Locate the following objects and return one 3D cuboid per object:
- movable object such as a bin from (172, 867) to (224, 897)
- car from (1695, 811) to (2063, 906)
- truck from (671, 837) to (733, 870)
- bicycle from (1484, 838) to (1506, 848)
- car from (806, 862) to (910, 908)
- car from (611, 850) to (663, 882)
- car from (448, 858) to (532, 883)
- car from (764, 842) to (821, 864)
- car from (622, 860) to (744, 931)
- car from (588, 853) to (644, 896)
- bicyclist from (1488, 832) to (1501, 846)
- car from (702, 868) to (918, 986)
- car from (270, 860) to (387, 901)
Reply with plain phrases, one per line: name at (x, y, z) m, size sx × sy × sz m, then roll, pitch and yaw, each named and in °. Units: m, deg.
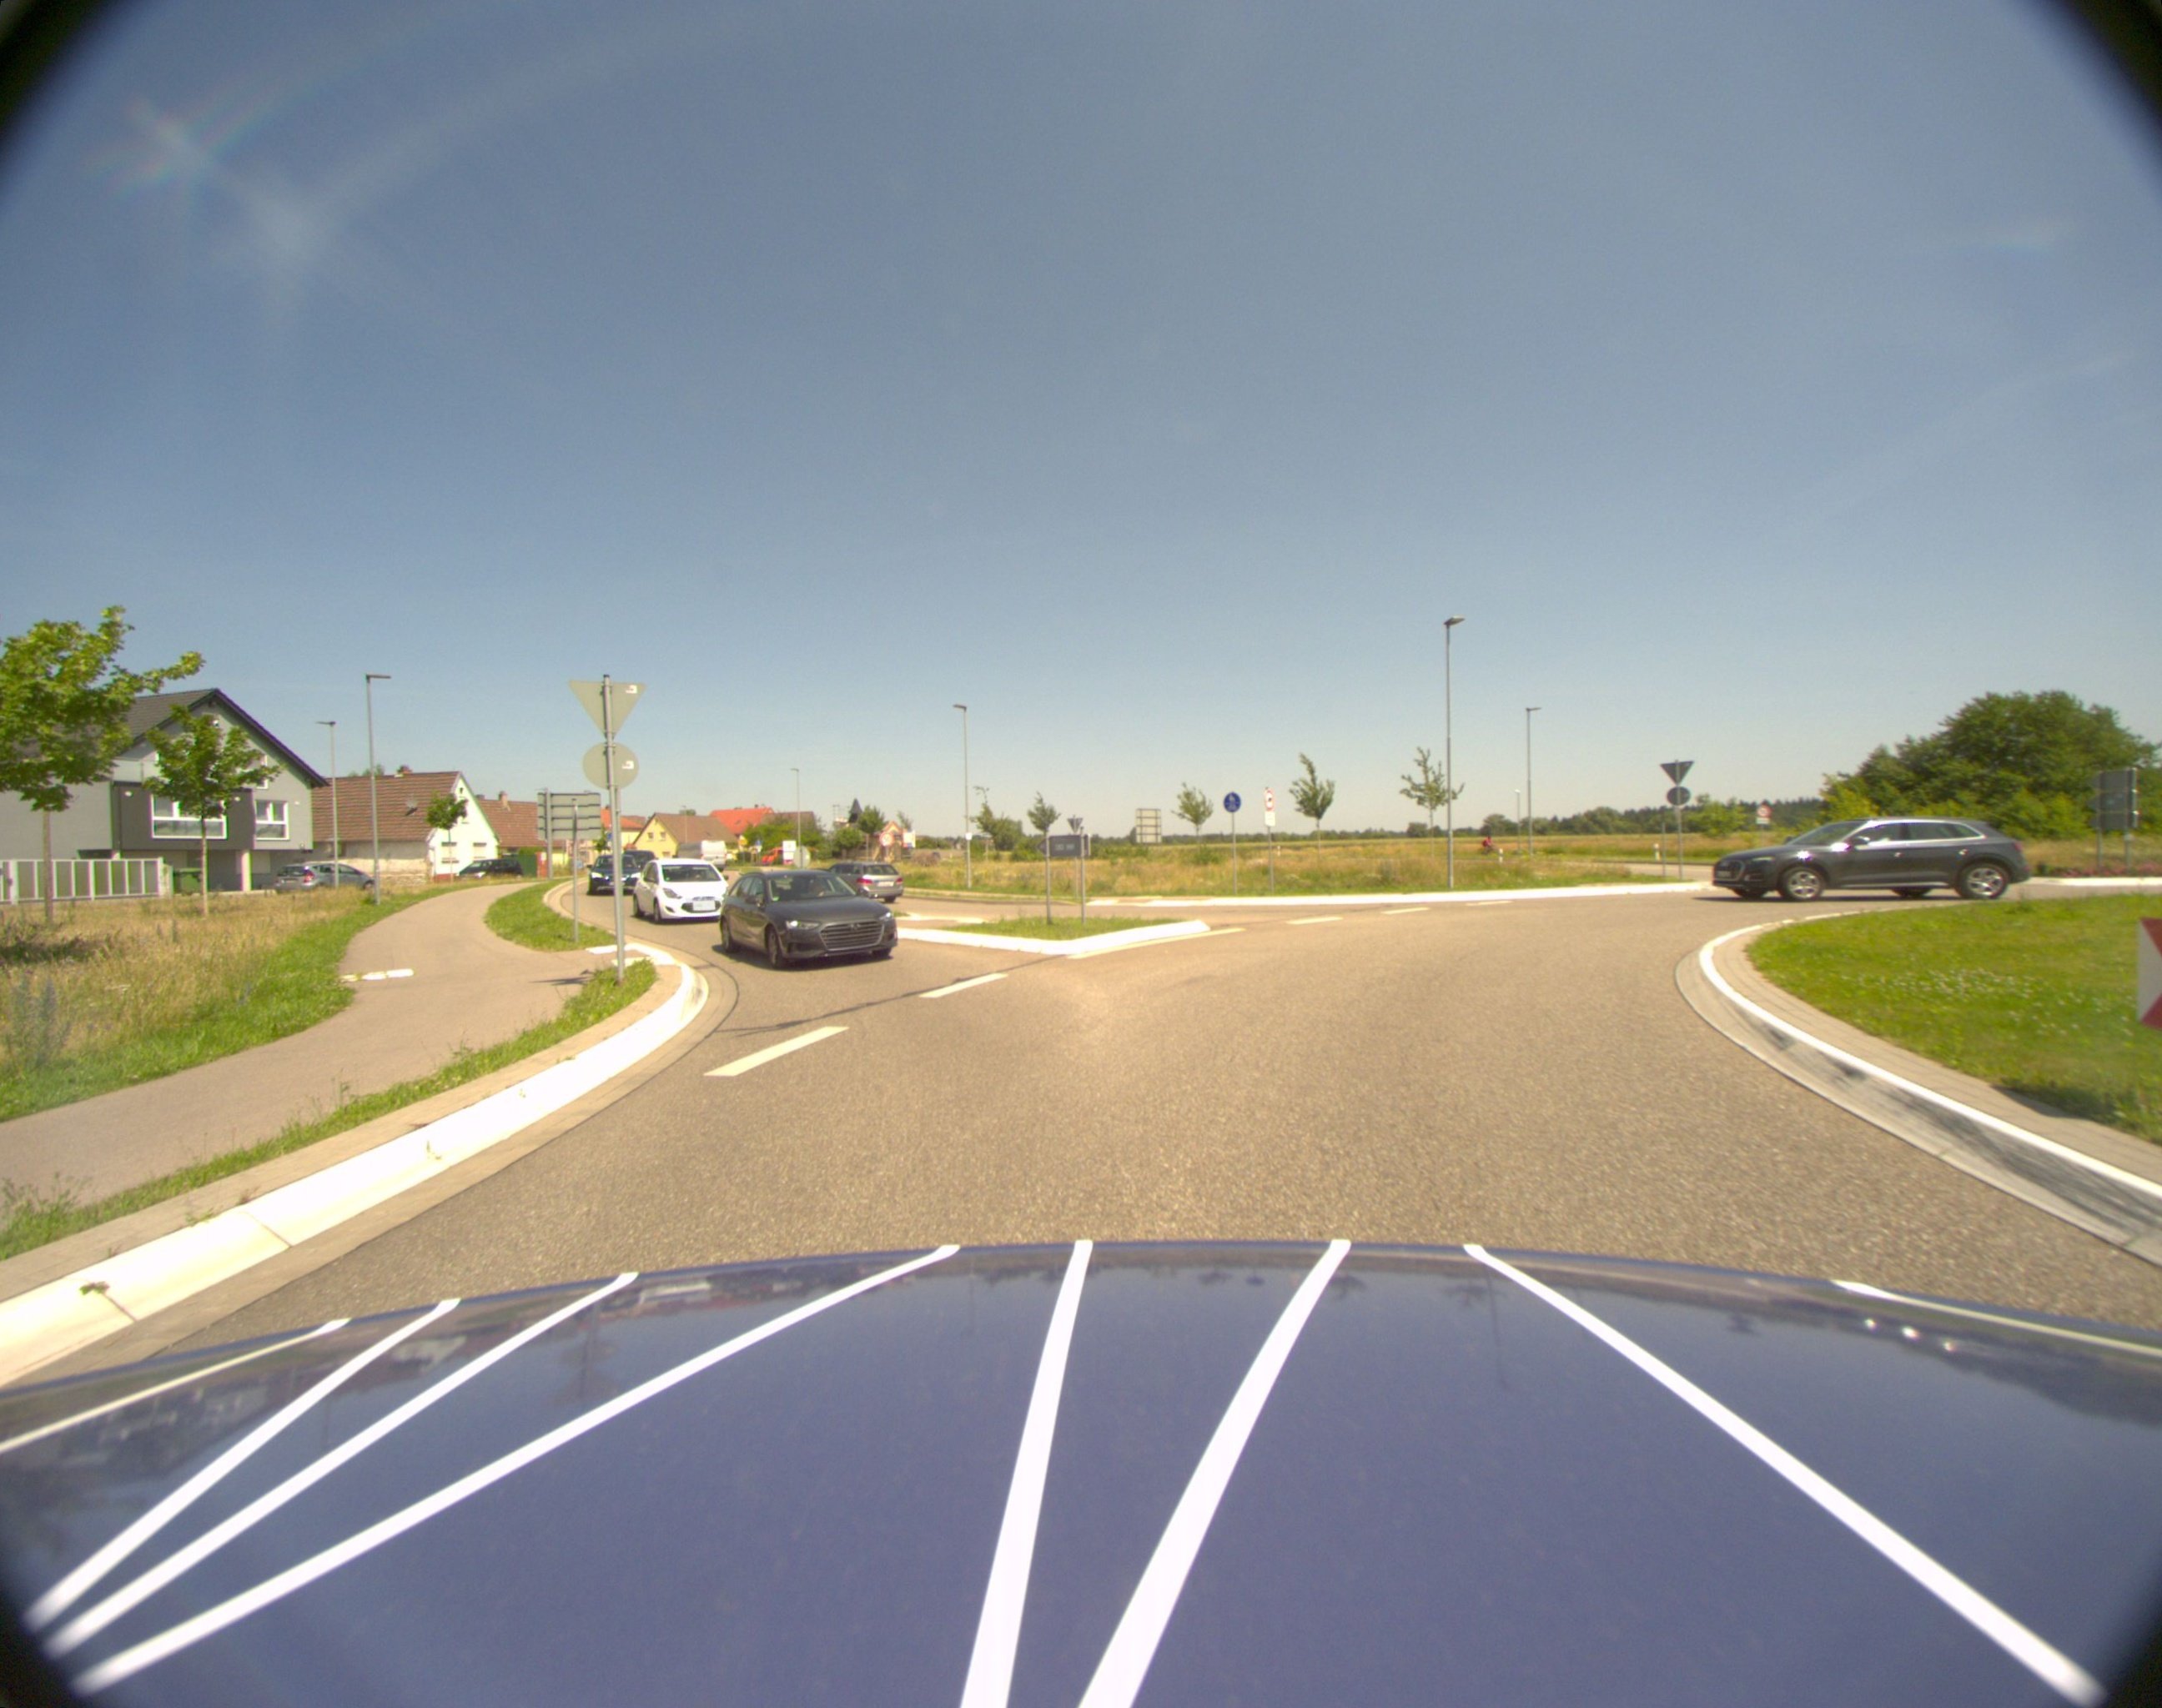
movable object such as a bin at (-42.937, 1.327, 36.954) m, size 1.085 × 1.381 × 1.202 m, roll -1°, pitch 1°, yaw 0°
car at (16.060, 0.117, 15.657) m, size 4.880 × 1.639 × 1.956 m, roll -3°, pitch 0°, yaw 16°
truck at (-30.304, -0.005, 60.620) m, size 5.619 × 2.492 × 2.241 m, roll -1°, pitch 1°, yaw 39°
bicycle at (32.551, -0.846, 59.746) m, size 0.580 × 0.725 × 1.467 m, roll -2°, pitch 1°, yaw -34°
car at (-8.254, 1.088, 27.810) m, size 1.841 × 1.482 × 4.854 m, roll -2°, pitch 0°, yaw -40°
car at (-24.191, 0.621, 41.563) m, size 1.871 × 1.553 × 4.715 m, roll -3°, pitch 1°, yaw -24°
car at (-36.563, 0.993, 47.132) m, size 1.851 × 1.343 × 3.771 m, roll -1°, pitch 1°, yaw 14°
car at (-35.302, -0.125, 93.120) m, size 6.126 × 2.569 × 2.358 m, roll -1°, pitch 1°, yaw 12°
car at (-10.605, 0.990, 20.078) m, size 1.873 × 1.553 × 4.508 m, roll -3°, pitch 2°, yaw -40°
car at (-18.945, 0.775, 30.886) m, size 1.725 × 1.553 × 4.140 m, roll -3°, pitch 2°, yaw -34°
bicyclist at (32.515, -1.157, 59.795) m, size 0.580 × 1.073 × 0.722 m, roll -2°, pitch 1°, yaw -34°
car at (-4.670, 1.034, 12.644) m, size 1.872 × 1.426 × 4.508 m, roll -5°, pitch 3°, yaw -40°
car at (-36.832, 1.245, 37.332) m, size 1.854 × 1.820 × 3.998 m, roll -1°, pitch 1°, yaw -3°
